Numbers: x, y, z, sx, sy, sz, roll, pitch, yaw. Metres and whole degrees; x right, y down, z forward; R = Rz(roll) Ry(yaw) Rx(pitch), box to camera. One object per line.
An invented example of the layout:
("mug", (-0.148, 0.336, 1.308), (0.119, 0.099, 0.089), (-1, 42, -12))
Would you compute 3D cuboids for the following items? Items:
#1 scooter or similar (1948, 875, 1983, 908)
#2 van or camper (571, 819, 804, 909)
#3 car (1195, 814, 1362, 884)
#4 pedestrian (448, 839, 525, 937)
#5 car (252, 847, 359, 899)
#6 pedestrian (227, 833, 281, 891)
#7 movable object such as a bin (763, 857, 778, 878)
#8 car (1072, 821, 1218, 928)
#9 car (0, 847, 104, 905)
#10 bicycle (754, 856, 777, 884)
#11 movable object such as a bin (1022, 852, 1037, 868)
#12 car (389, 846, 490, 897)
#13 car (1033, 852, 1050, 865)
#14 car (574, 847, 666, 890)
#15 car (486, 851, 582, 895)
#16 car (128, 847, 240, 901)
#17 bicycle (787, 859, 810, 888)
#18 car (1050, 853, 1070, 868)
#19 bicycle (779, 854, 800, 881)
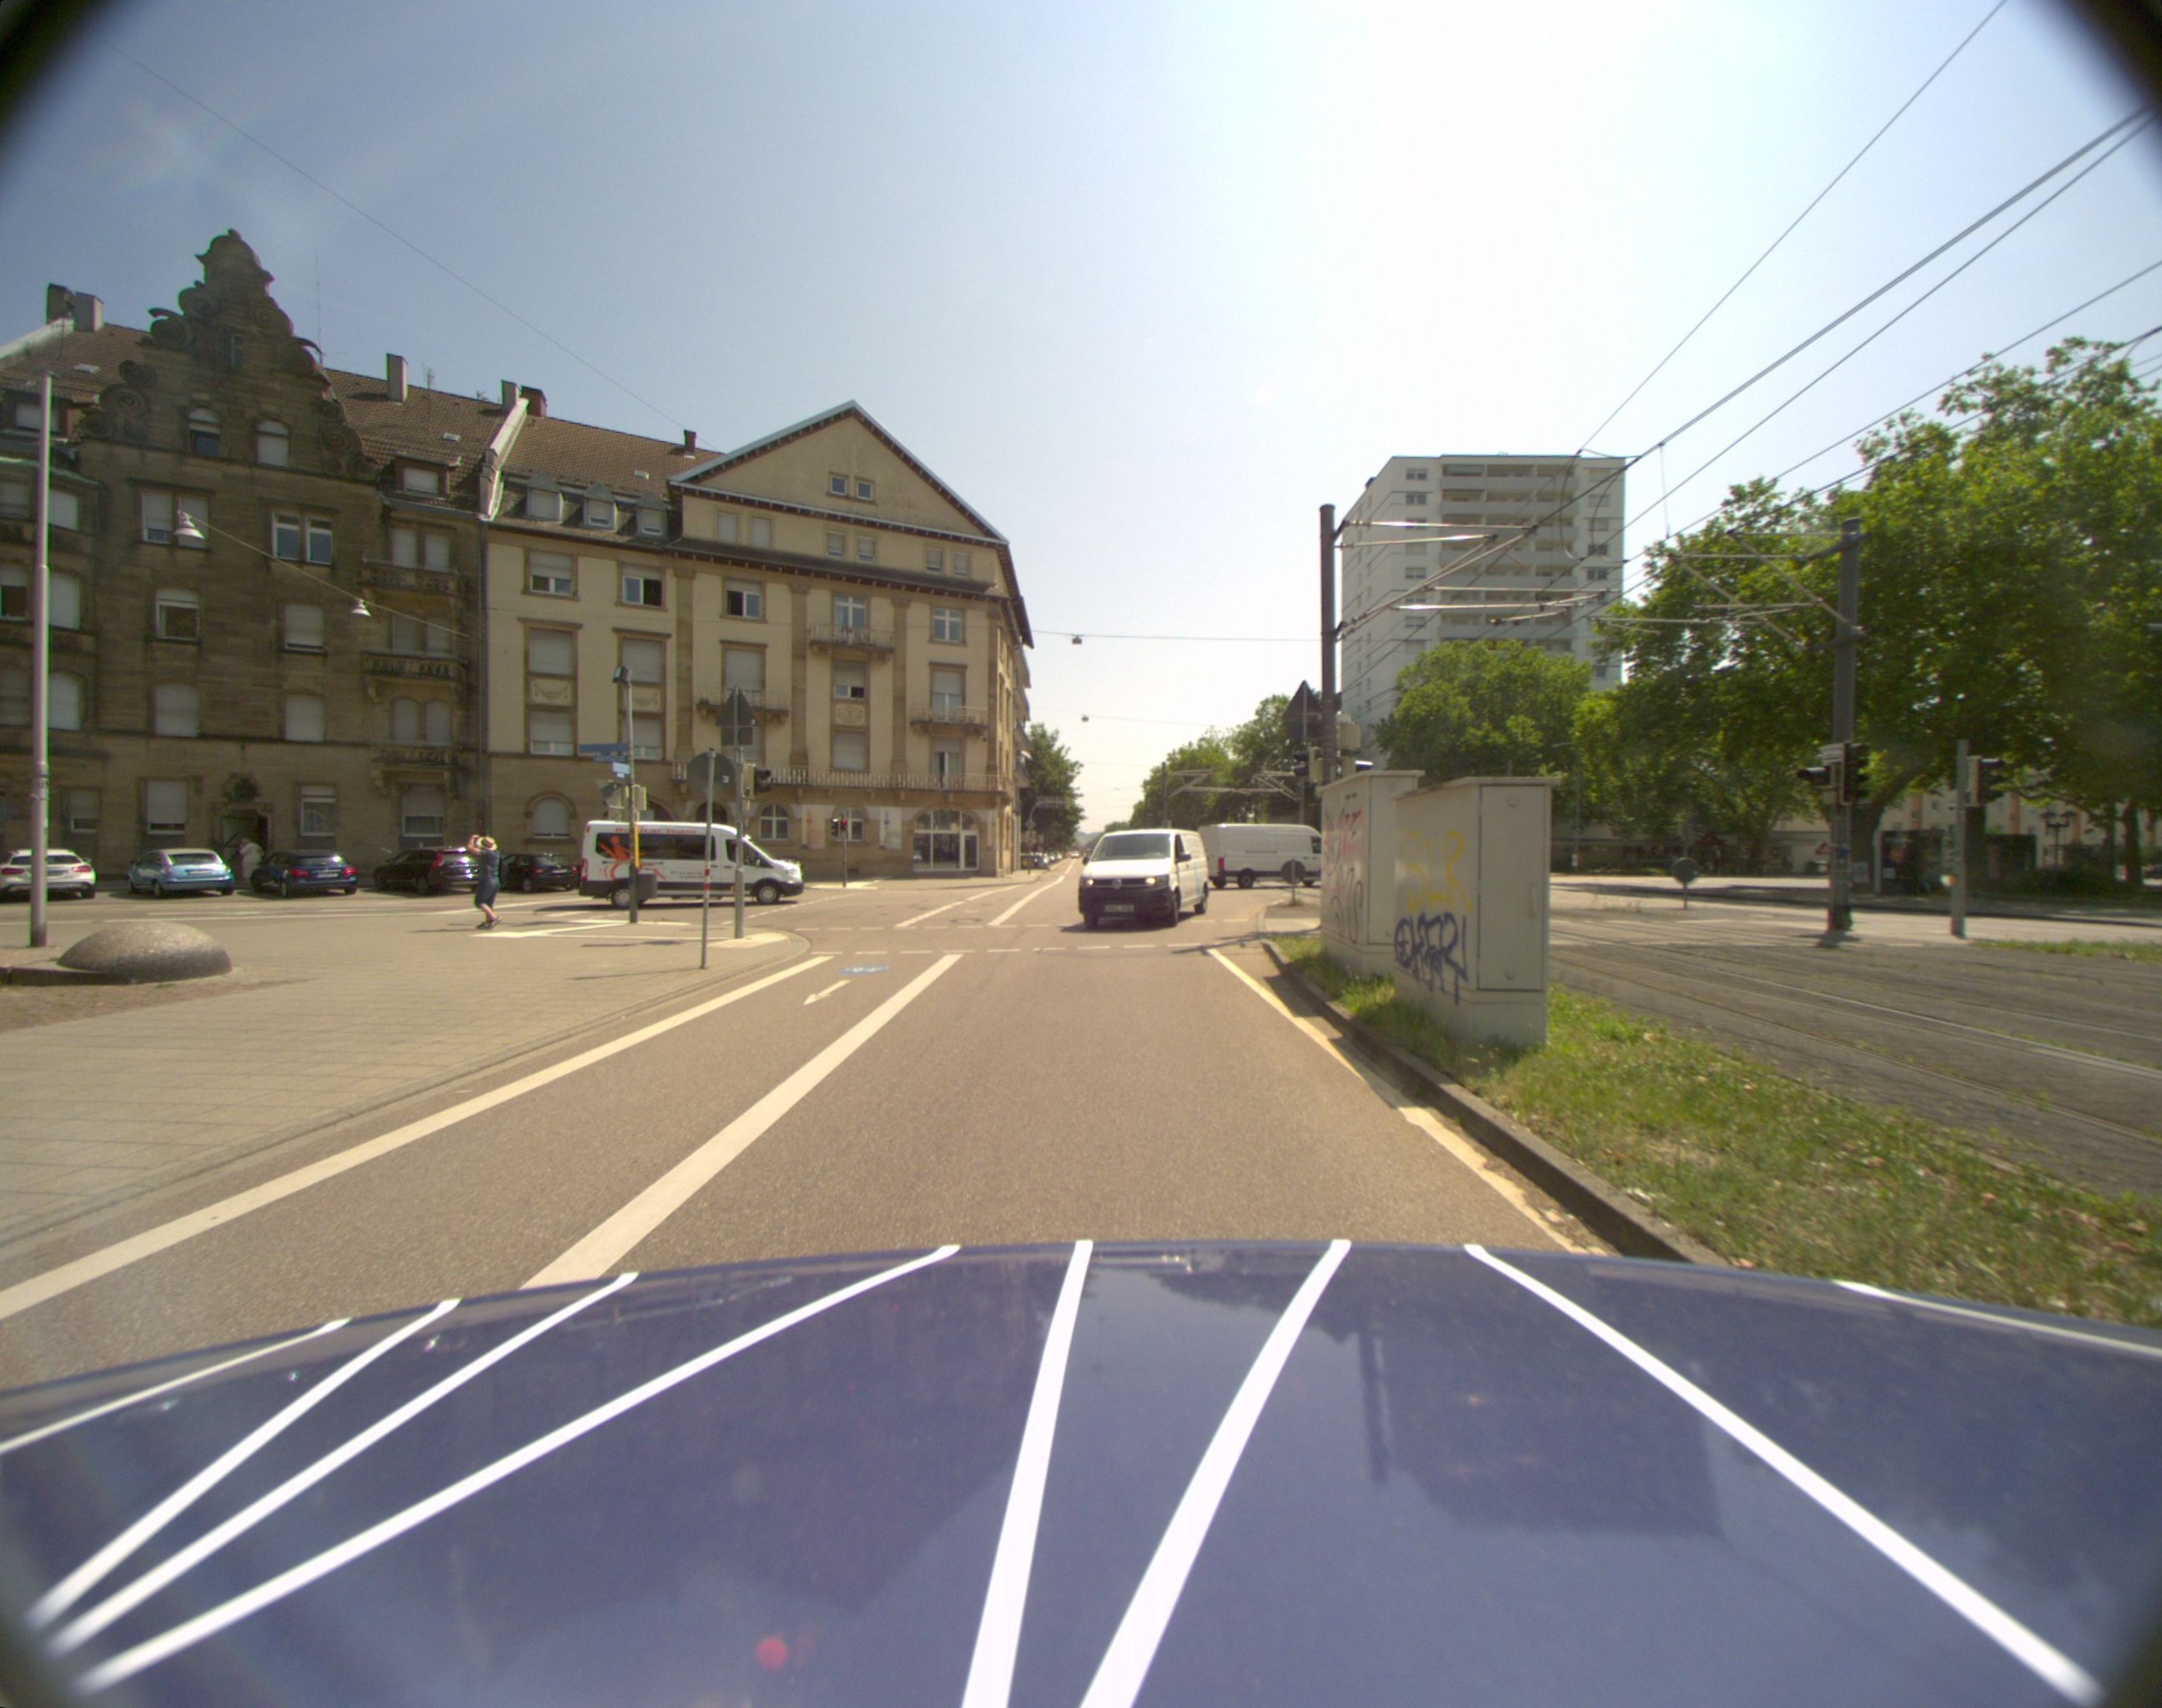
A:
("scooter or similar", (31.190, 1.321, 26.795), (0.257, 1.114, 0.978), (0, 1, 13))
("van or camper", (-11.426, 0.289, 22.618), (5.908, 2.447, 2.069), (0, 0, -21))
("car", (8.100, -0.208, 31.026), (6.641, 2.622, 2.073), (0, 1, -22))
("pedestrian", (-11.300, 0.621, 14.461), (0.744, 1.812, 0.834), (0, 1, 8))
("car", (-27.040, 0.611, 26.500), (3.218, 1.566, 1.619), (2, 4, 26))
("pedestrian", (-30.731, 0.285, 28.240), (1.099, 2.101, 0.867), (1, 1, 7))
("movable object such as a bin", (-15.014, 0.650, 36.759), (0.591, 0.989, 0.582), (-1, 1, -16))
("car", (1.567, 0.342, 16.347), (1.849, 1.942, 4.950), (1, 1, 21))
("car", (-32.431, 0.632, 23.794), (3.217, 1.566, 1.619), (2, 4, 27))
("bicycle", (-14.100, 0.685, 33.996), (0.565, 1.145, 1.803), (0, 2, -10))
("movable object such as a bin", (-4.507, 0.506, 66.573), (1.214, 1.428, 1.008), (0, 1, -3))
("car", (-23.506, 0.599, 27.843), (3.218, 1.656, 1.619), (2, 4, 26))
("car", (-4.834, 0.552, 92.197), (1.999, 1.522, 3.998), (0, 1, -3))
("car", (-18.403, 0.540, 30.353), (3.218, 1.471, 1.619), (2, 4, 26))
("car", (-20.994, 0.681, 29.173), (3.218, 1.471, 1.619), (2, 4, 26))
("car", (-29.982, 0.613, 25.402), (3.218, 1.566, 1.619), (2, 4, 26))
("bicycle", (-12.306, 0.827, 33.177), (0.565, 1.145, 2.058), (0, 2, -10))
("car", (-2.228, 0.705, 80.994), (1.999, 1.522, 3.998), (0, 1, -3))
("bicycle", (-13.254, 0.613, 34.544), (0.565, 1.145, 1.803), (0, 2, -10))
